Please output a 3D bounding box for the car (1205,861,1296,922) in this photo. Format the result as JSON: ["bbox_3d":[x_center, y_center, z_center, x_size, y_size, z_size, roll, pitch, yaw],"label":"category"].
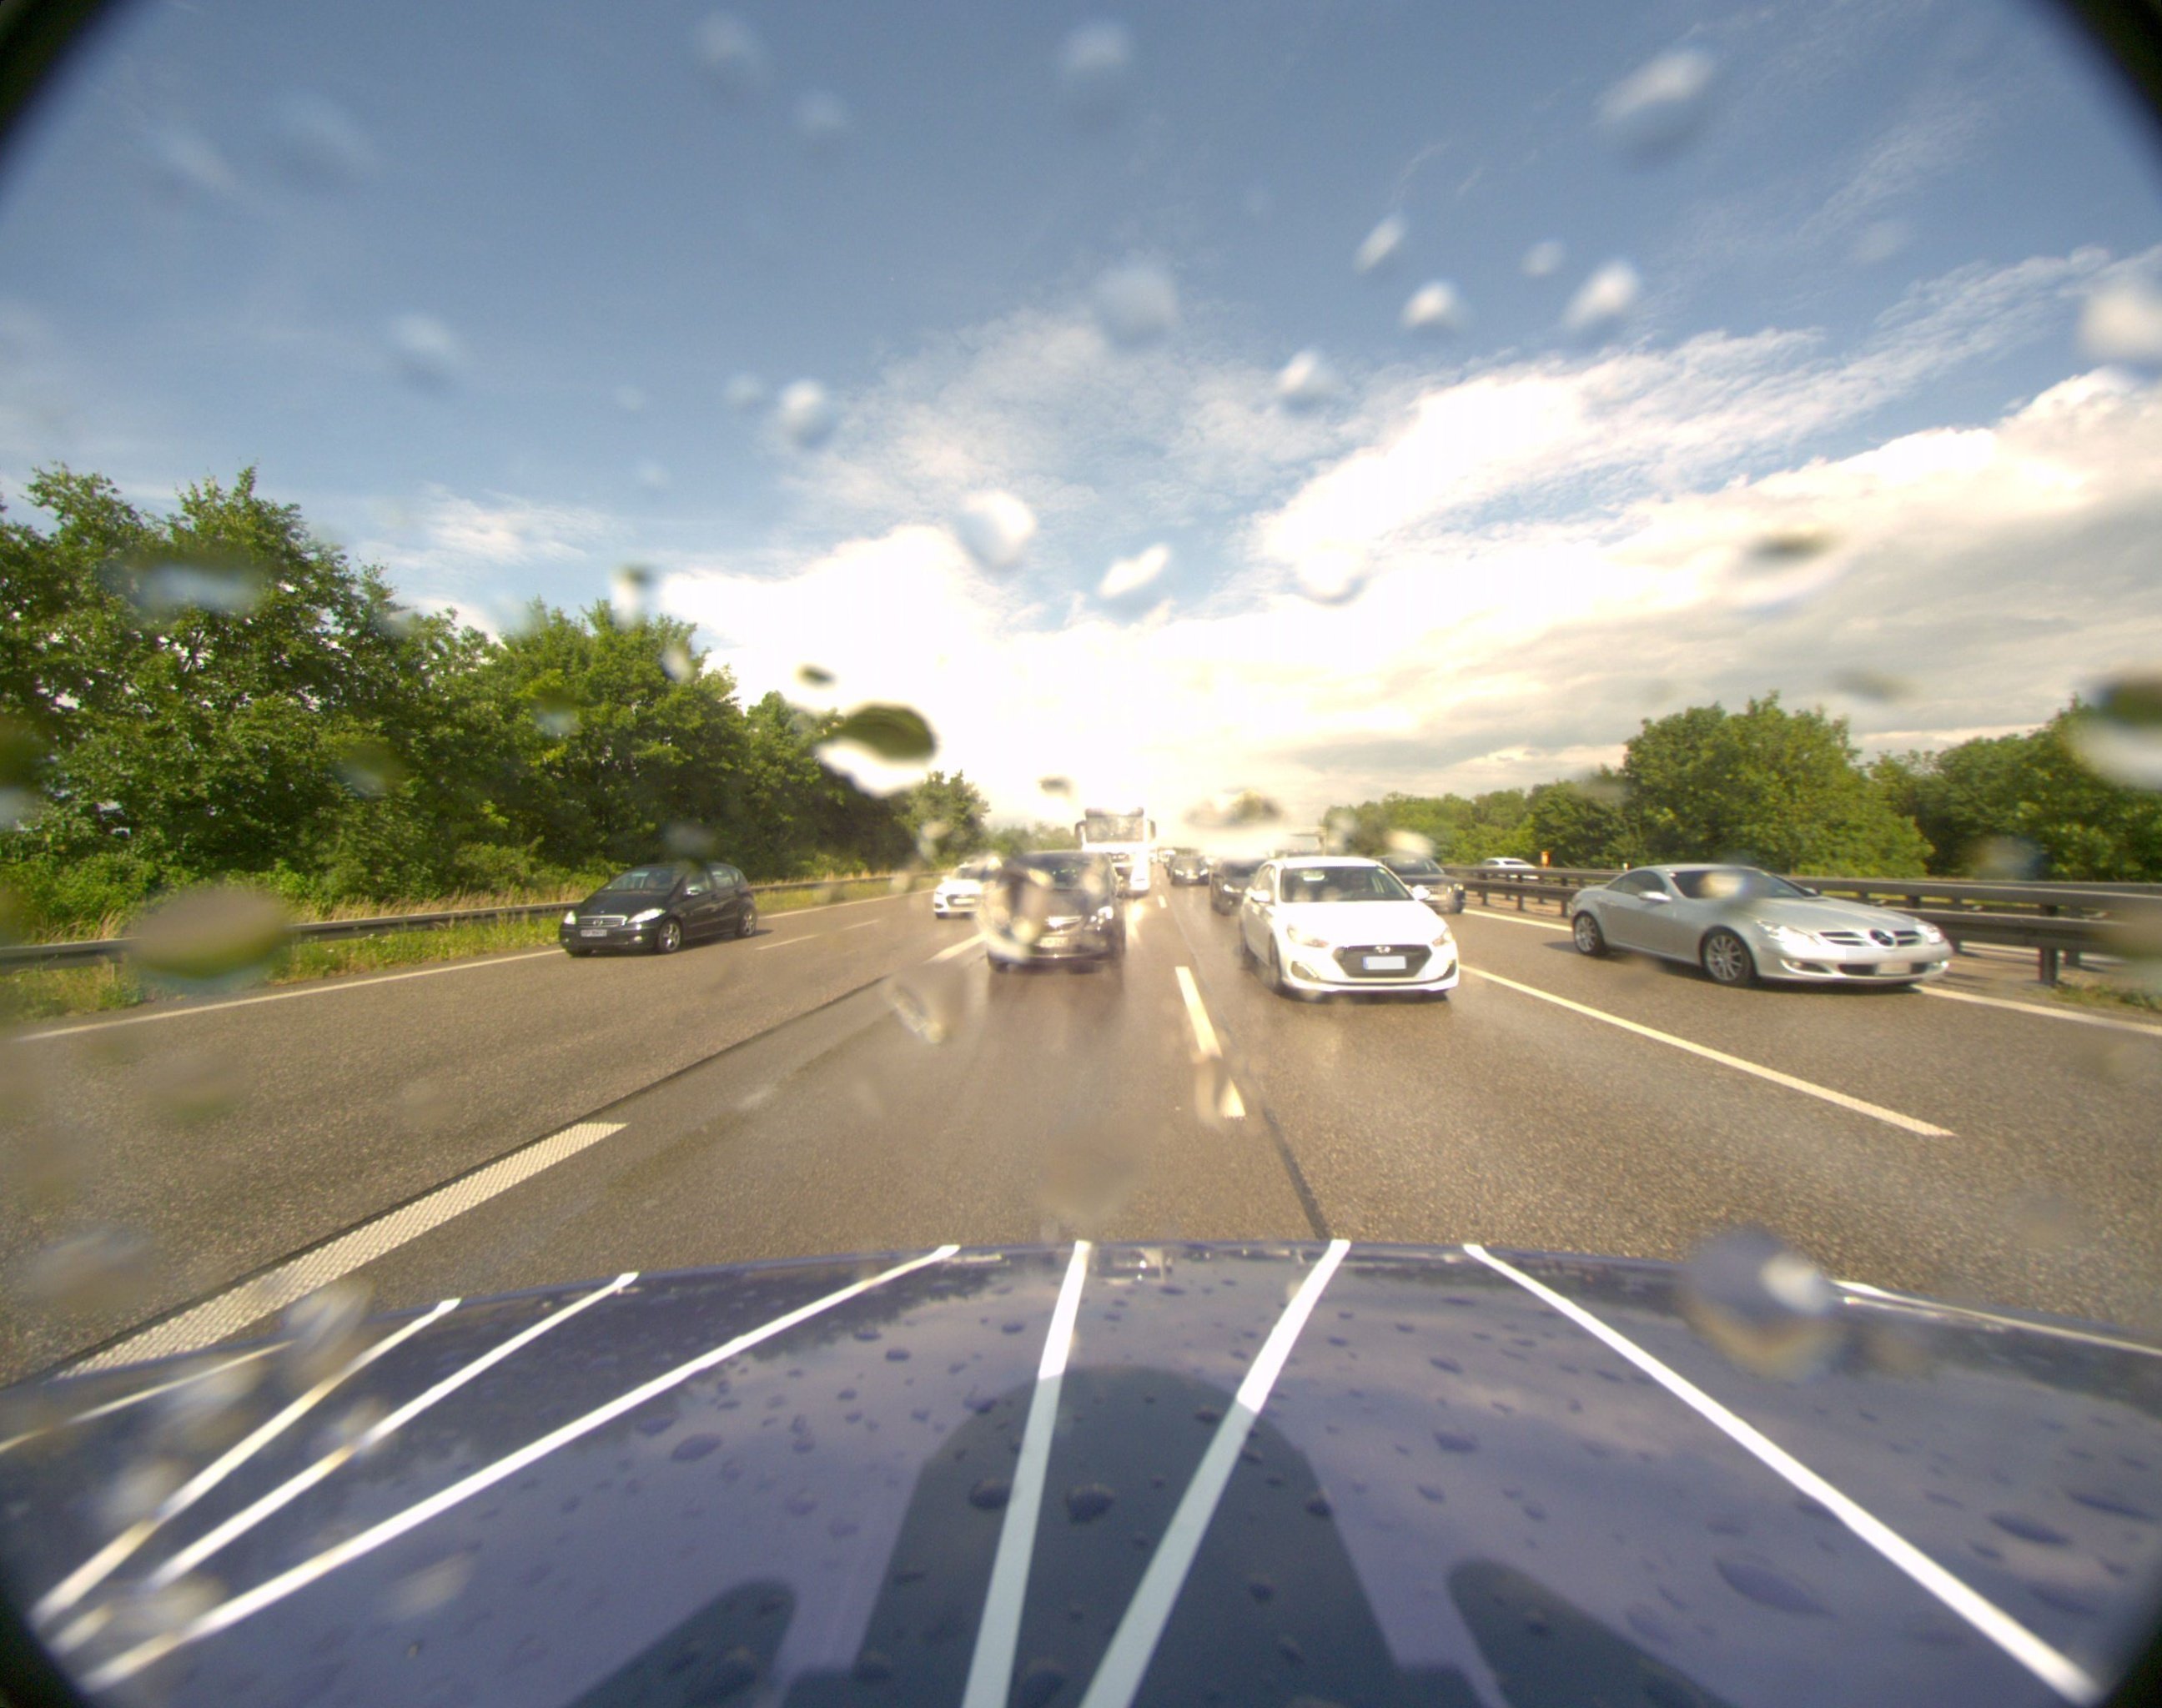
[{"bbox_3d":[4.328,0.904,19.994,1.728,1.330,4.288,-1,0,4],"label":"car"}]

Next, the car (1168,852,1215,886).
[{"bbox_3d":[5.506,0.695,38.262,1.998,1.477,4.000,-2,1,4],"label":"car"}]

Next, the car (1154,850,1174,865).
[{"bbox_3d":[8.820,0.333,81.112,1.998,1.471,4.000,-2,1,4],"label":"car"}]

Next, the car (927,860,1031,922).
[{"bbox_3d":[-2.670,0.937,21.010,1.830,1.417,4.512,-2,0,6],"label":"car"}]

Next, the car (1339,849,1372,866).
[{"bbox_3d":[24.020,0.309,66.641,1.760,1.371,3.877,-1,0,4],"label":"car"}]

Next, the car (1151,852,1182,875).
[{"bbox_3d":[6.206,0.672,55.523,1.998,1.471,4.000,-2,1,4],"label":"car"}]

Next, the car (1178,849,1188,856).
[{"bbox_3d":[25.085,-0.420,187.169,1.998,1.687,4.000,-2,1,4],"label":"car"}]

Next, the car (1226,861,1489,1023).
[{"bbox_3d":[3.003,0.850,9.367,1.885,1.446,4.549,-1,0,4],"label":"car"}]

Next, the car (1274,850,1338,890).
[{"bbox_3d":[9.716,0.633,33.123,1.874,1.597,4.230,-1,0,5],"label":"car"}]

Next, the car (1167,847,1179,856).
[{"bbox_3d":[17.669,-0.528,146.493,1.998,1.687,4.000,-2,1,4],"label":"car"}]

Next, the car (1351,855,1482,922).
[{"bbox_3d":[8.260,0.771,19.113,1.770,1.417,4.140,-2,0,5],"label":"car"}]

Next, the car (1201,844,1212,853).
[{"bbox_3d":[28.060,-1.238,169.483,1.998,1.768,4.462,-1,0,5],"label":"car"}]

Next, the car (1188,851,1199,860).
[{"bbox_3d":[24.261,0.262,163.452,1.998,1.687,4.000,-2,1,4],"label":"car"}]

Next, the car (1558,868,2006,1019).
[{"bbox_3d":[7.623,0.855,8.928,1.728,1.270,4.064,-1,0,4],"label":"car"}]

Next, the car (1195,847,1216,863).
[{"bbox_3d":[14.789,0.125,90.358,1.998,1.687,4.000,-2,1,4],"label":"car"}]

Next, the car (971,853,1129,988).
[{"bbox_3d":[-0.247,0.834,11.620,1.883,1.638,4.397,-1,0,4],"label":"car"}]

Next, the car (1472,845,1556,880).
[{"bbox_3d":[22.074,0.419,38.983,1.998,1.677,4.462,-1,0,4],"label":"car"}]

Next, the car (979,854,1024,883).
[{"bbox_3d":[-4.661,0.821,45.019,1.824,1.611,4.365,-2,0,4],"label":"car"}]

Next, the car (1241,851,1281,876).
[{"bbox_3d":[10.993,0.556,46.732,1.771,1.371,4.000,-1,1,4],"label":"car"}]

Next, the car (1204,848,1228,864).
[{"bbox_3d":[13.847,0.191,78.288,1.998,1.471,4.000,-2,1,4],"label":"car"}]

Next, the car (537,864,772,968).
[{"bbox_3d":[-7.607,1.013,14.089,1.852,1.559,4.001,0,1,4],"label":"car"}]

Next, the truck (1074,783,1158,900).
[{"bbox_3d":[1.600,-0.464,30.759,2.816,4.082,7.448,-2,1,6],"label":"truck"}]

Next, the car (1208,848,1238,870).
[{"bbox_3d":[12.148,0.396,65.124,1.998,1.738,4.000,-2,1,4],"label":"car"}]
